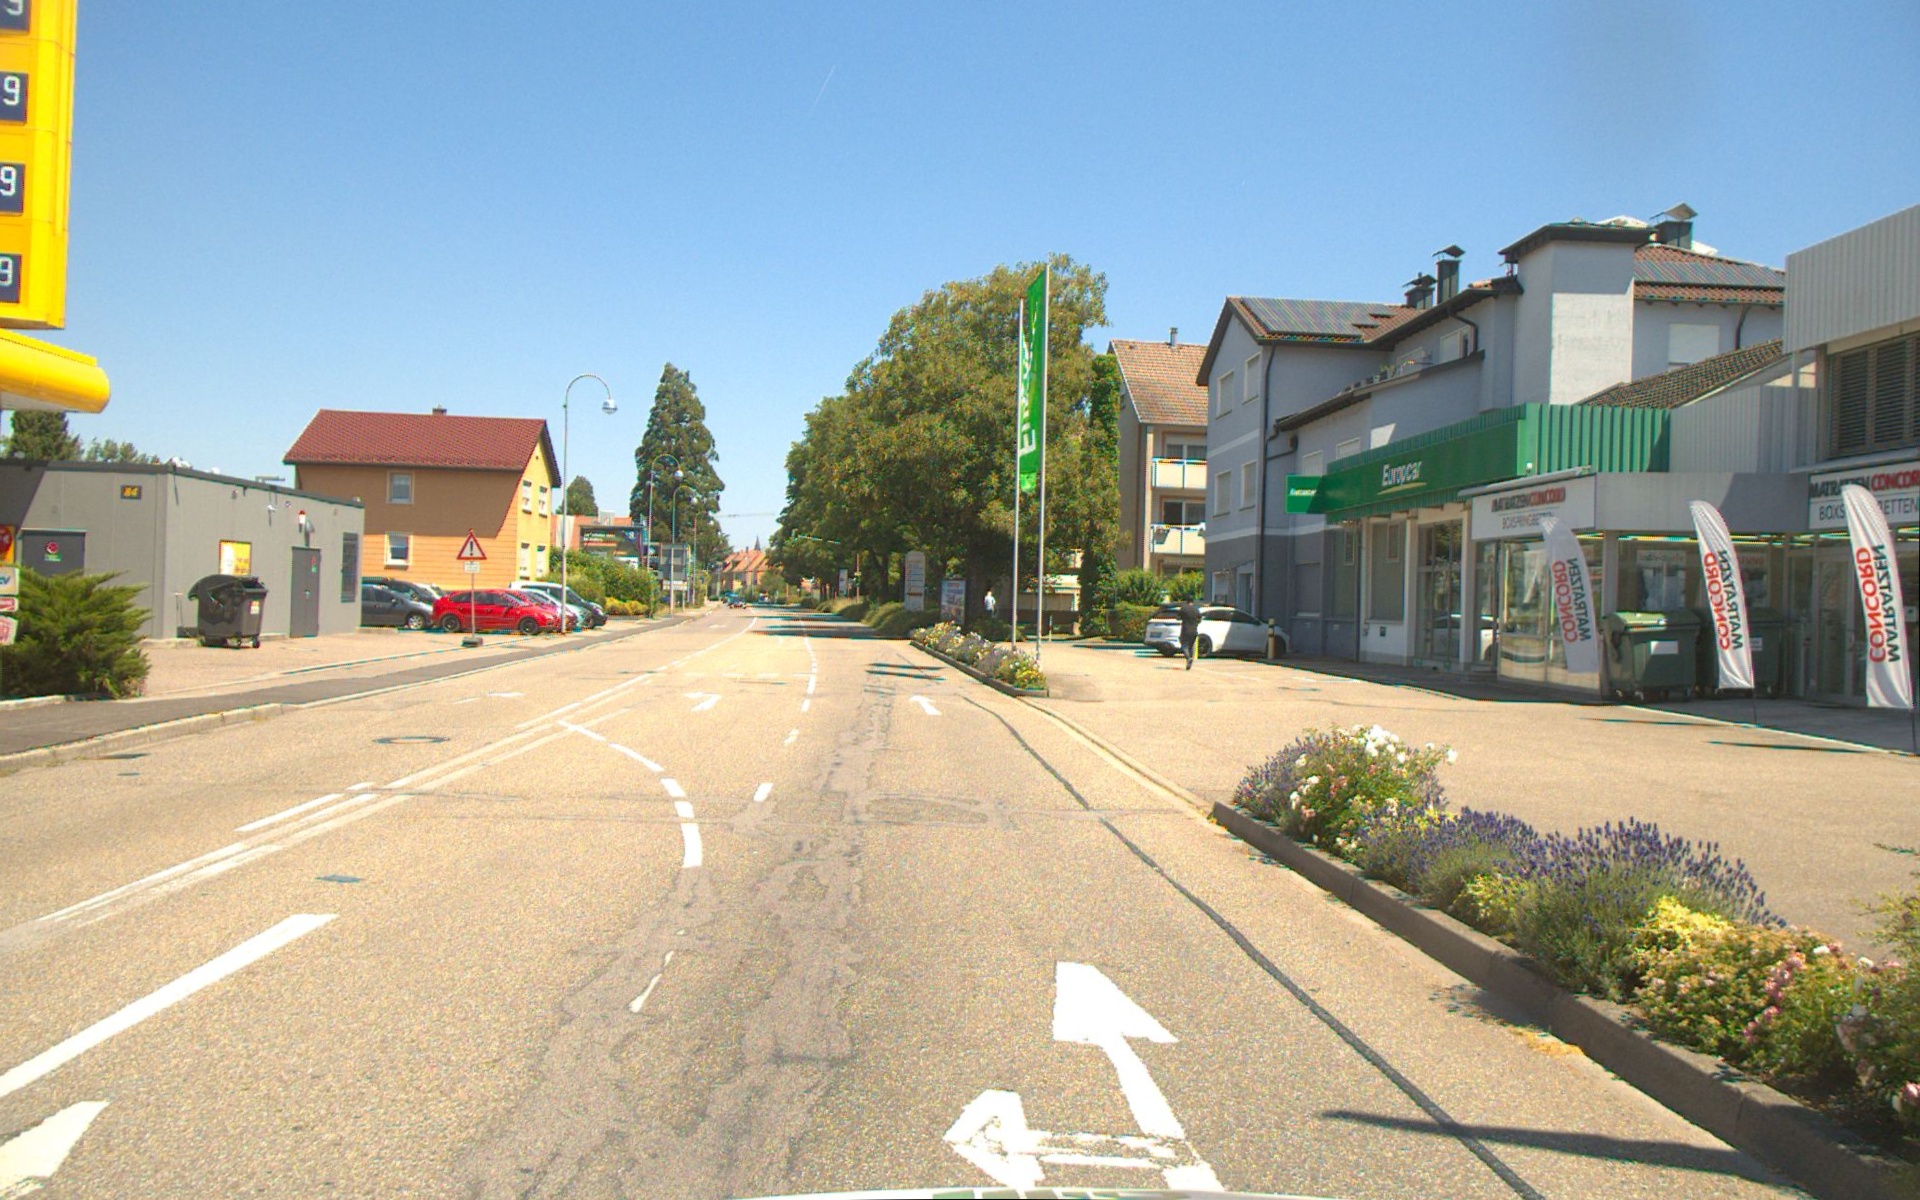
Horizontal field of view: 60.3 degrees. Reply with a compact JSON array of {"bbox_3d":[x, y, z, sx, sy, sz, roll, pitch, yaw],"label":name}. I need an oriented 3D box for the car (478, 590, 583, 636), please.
[{"bbox_3d":[-16.049,0.487,61.962,3.595,1.633,1.878,1,0,-8],"label":"car"}]

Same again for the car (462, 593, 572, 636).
[{"bbox_3d":[-15.911,0.510,59.555,3.595,1.483,1.889,1,0,-8],"label":"car"}]

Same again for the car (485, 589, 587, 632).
[{"bbox_3d":[-16.398,0.413,64.122,3.595,1.608,1.919,1,0,-8],"label":"car"}]

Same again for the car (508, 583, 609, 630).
[{"bbox_3d":[-17.076,0.275,70.557,4.019,1.931,1.995,1,0,-11],"label":"car"}]

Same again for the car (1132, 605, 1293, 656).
[{"bbox_3d":[7.230,0.880,47.272,4.294,1.395,1.937,1,0,-29],"label":"car"}]

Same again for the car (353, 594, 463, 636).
[{"bbox_3d":[-20.807,0.559,62.443,3.595,1.483,1.889,1,0,-8],"label":"car"}]

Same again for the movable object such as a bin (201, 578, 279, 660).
[{"bbox_3d":[-14.719,0.370,33.834,0.934,1.543,1.427,5,1,-5],"label":"movable object such as a bin"}]

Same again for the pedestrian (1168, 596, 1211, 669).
[{"bbox_3d":[5.300,0.741,38.229,0.823,1.670,1.010,1,0,-1],"label":"pedestrian"}]

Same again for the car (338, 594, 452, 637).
[{"bbox_3d":[-20.611,0.556,60.429,3.595,1.483,1.889,1,0,-8],"label":"car"}]

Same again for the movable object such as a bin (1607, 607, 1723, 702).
[{"bbox_3d":[11.289,0.870,26.531,1.531,1.447,0.702,-2,0,2],"label":"movable object such as a bin"}]

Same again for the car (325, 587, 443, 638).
[{"bbox_3d":[-20.318,0.439,58.446,3.595,1.739,1.889,1,0,-8],"label":"car"}]

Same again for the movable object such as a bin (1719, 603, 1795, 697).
[{"bbox_3d":[12.760,0.792,26.498,0.835,1.470,0.702,-2,-1,2],"label":"movable object such as a bin"}]

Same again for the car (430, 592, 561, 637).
[{"bbox_3d":[-15.951,0.496,56.981,4.046,1.469,1.824,1,0,-7],"label":"car"}]

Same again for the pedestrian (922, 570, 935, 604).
[{"bbox_3d":[-1.763,-0.724,93.467,0.689,1.948,0.659,0,0,-3],"label":"pedestrian"}]

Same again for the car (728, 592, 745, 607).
[{"bbox_3d":[-24.607,-0.071,182.422,1.677,1.521,4.272,1,1,-6],"label":"car"}]

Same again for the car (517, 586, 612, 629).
[{"bbox_3d":[-16.345,0.303,68.495,3.595,1.702,1.919,1,0,-8],"label":"car"}]
